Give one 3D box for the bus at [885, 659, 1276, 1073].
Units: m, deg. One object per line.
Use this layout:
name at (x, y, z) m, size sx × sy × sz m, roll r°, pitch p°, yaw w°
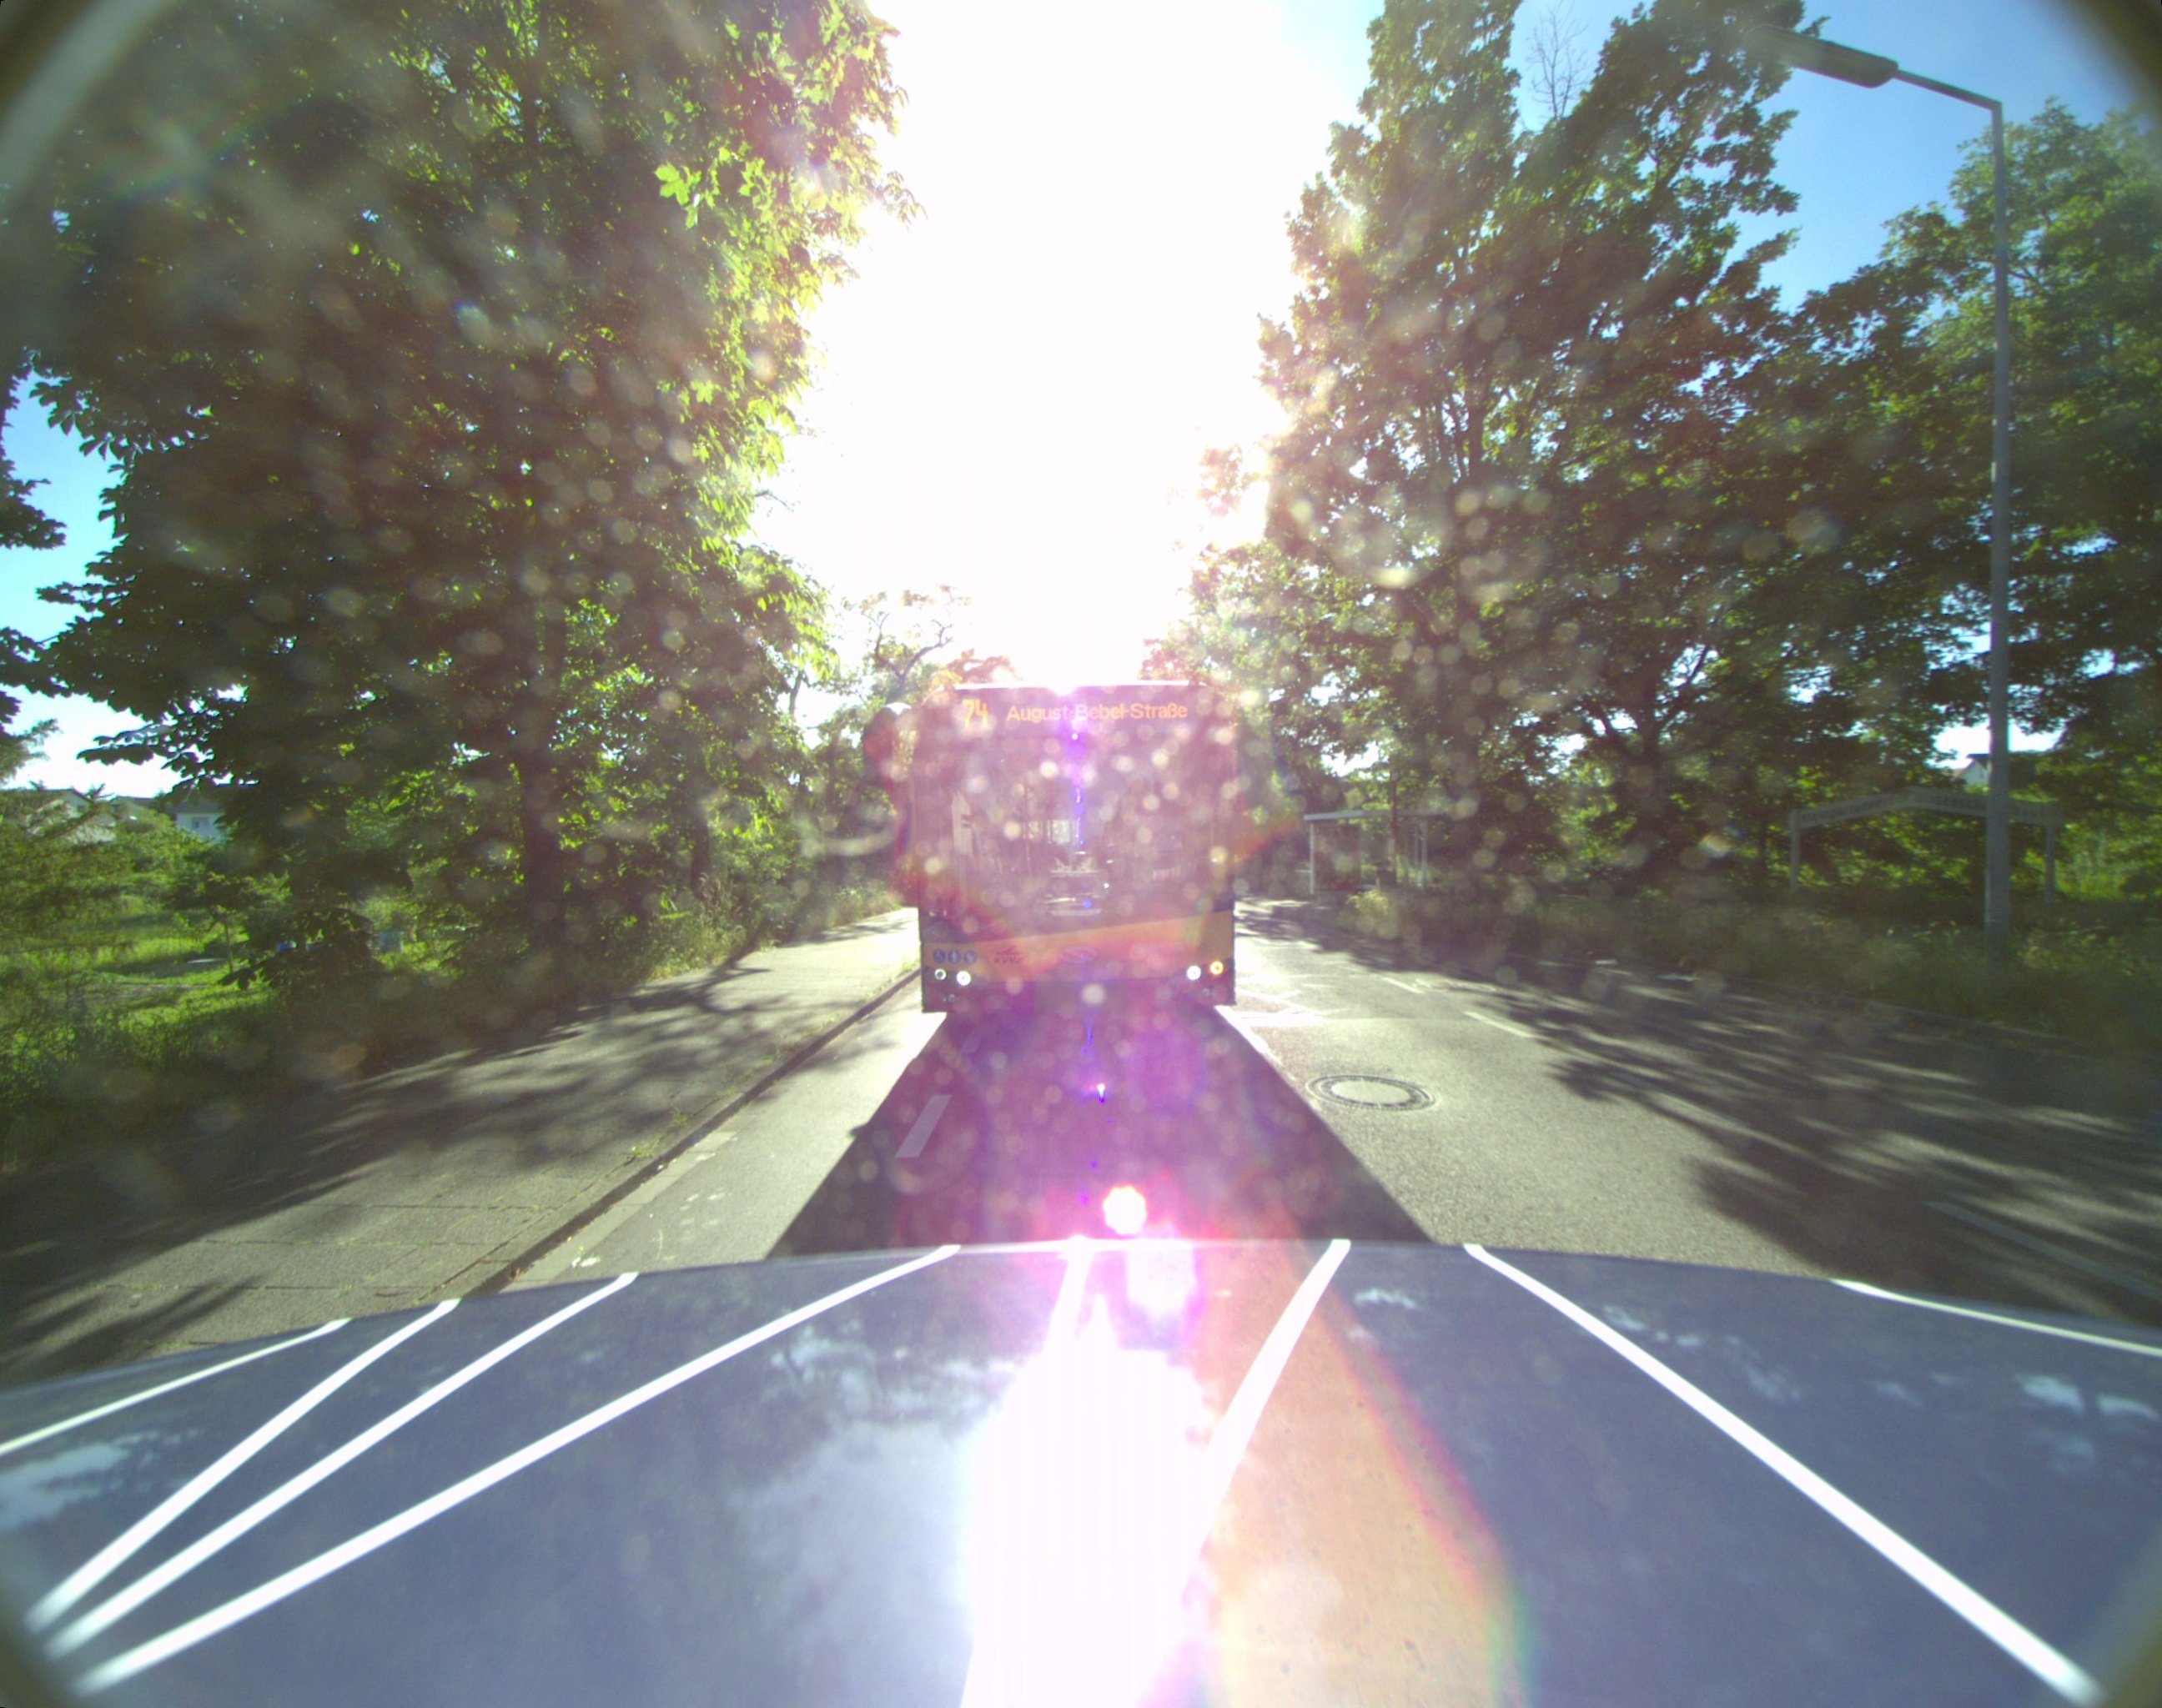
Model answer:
bus at (-0.060, 0.066, 12.085) m, size 2.790 × 2.965 × 12.892 m, roll -2°, pitch 0°, yaw -1°
